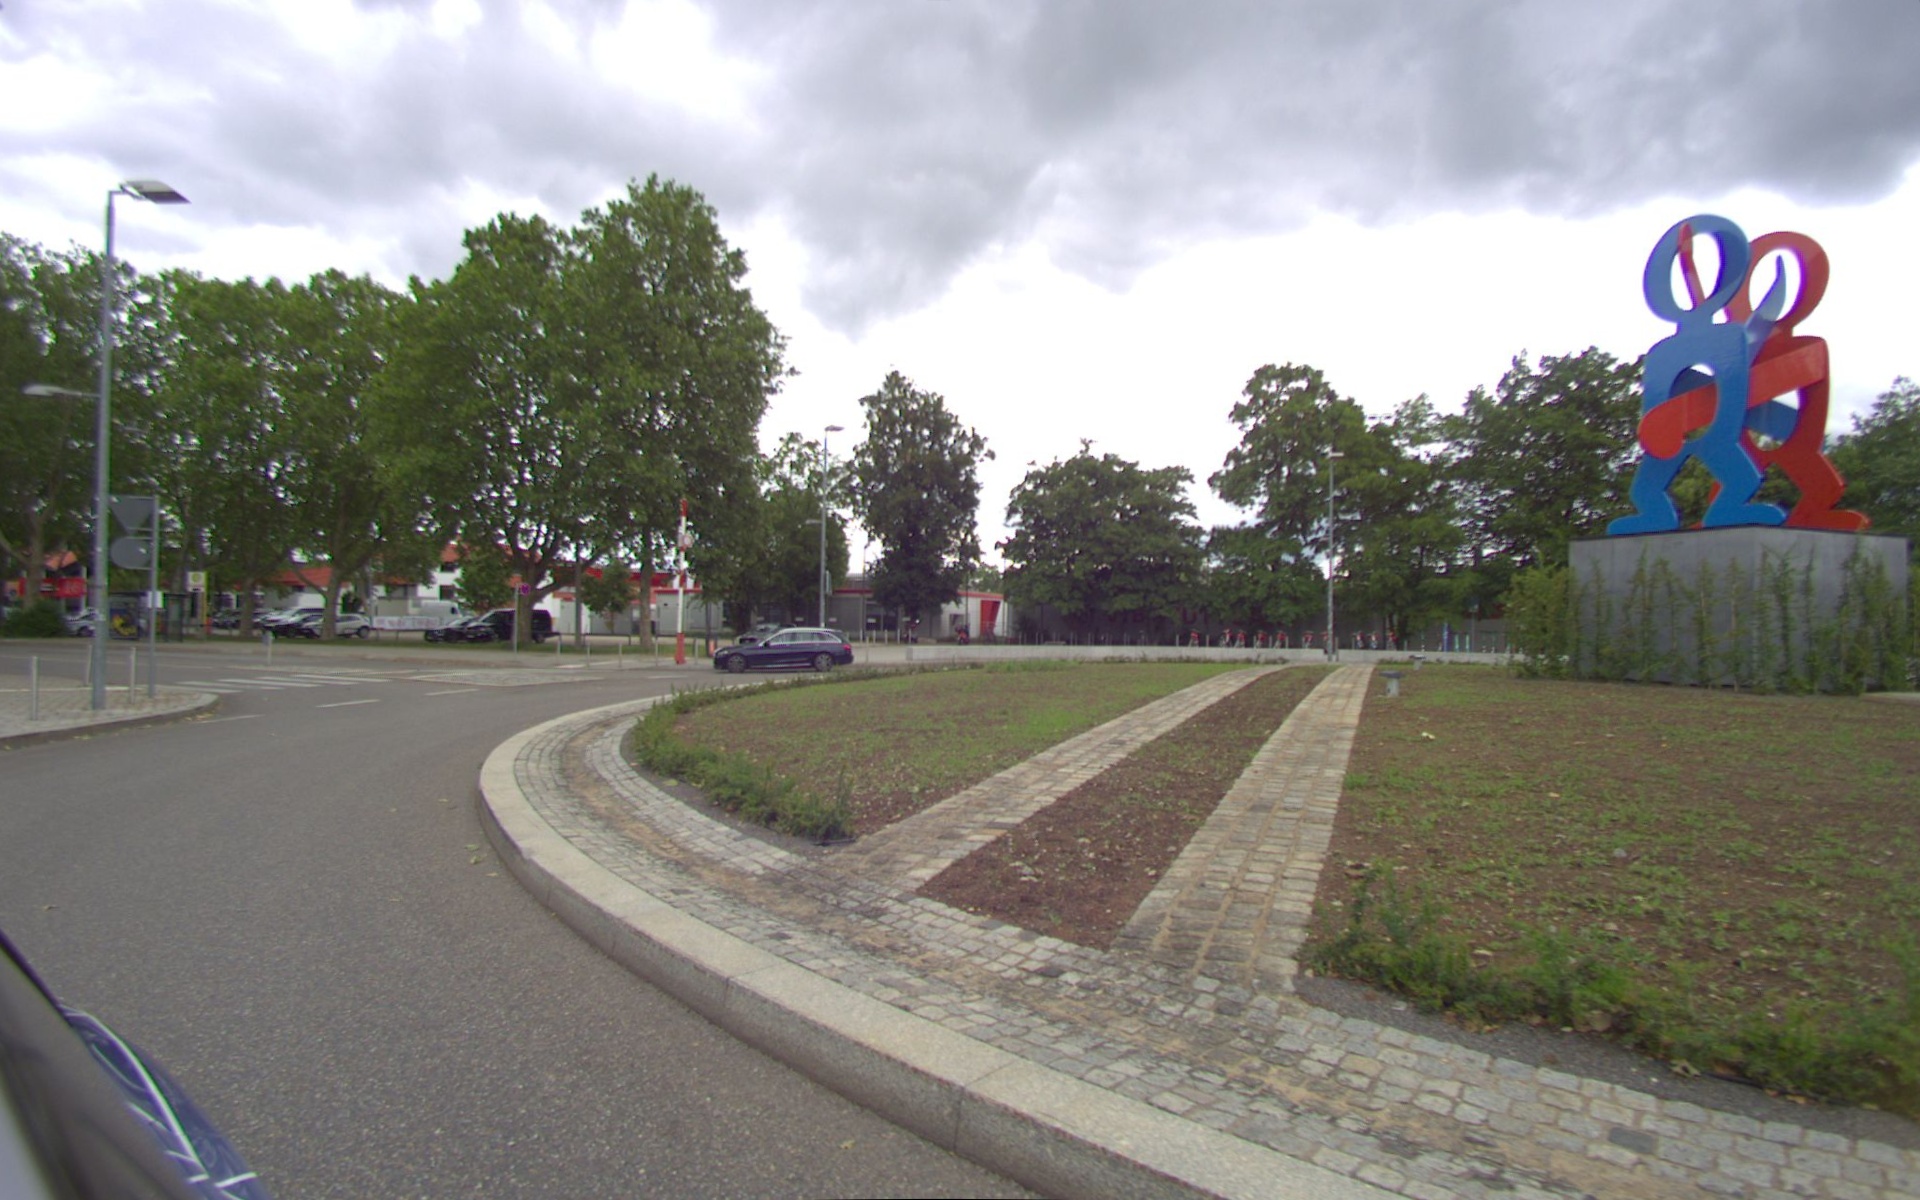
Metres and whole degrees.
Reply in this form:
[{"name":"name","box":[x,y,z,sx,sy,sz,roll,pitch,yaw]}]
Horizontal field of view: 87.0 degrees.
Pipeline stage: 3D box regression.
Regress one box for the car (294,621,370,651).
[{"name":"car","box":[-38.849,2.229,62.694,1.664,1.791,3.674,-1,-1,30]}]

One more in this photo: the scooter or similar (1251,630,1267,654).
[{"name":"scooter or similar","box":[14.855,2.063,50.192,0.635,1.117,1.962,-1,-1,20]}]

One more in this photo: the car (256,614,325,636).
[{"name":"car","box":[-52.963,1.944,80.182,1.783,1.664,4.406,-1,-1,20]}]

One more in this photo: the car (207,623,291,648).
[{"name":"car","box":[-44.876,2.235,63.978,1.864,1.530,3.966,-1,-1,30]}]

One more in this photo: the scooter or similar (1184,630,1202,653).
[{"name":"scooter or similar","box":[11.898,2.127,51.718,0.635,1.117,1.962,-1,-1,20]}]

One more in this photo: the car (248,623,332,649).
[{"name":"car","box":[-41.488,2.221,62.754,1.864,1.530,3.966,-1,-1,30]}]

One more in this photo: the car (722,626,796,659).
[{"name":"car","box":[-9.670,2.027,48.984,1.767,1.536,3.798,-1,-1,21]}]

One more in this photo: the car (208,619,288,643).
[{"name":"car","box":[-47.068,2.053,66.973,1.864,1.530,3.966,-1,-1,30]}]

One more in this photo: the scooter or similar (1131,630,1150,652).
[{"name":"scooter or similar","box":[9.647,2.185,54.050,0.635,1.117,1.962,-1,-1,20]}]

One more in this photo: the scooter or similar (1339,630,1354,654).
[{"name":"scooter or similar","box":[18.587,1.998,48.649,0.635,1.117,1.962,-1,-1,20]}]

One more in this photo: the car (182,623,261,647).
[{"name":"car","box":[-50.011,2.352,68.588,1.864,1.530,3.966,-1,-1,30]}]

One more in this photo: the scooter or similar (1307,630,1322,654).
[{"name":"scooter or similar","box":[17.236,2.020,49.147,0.635,1.117,1.962,-1,-1,20]}]

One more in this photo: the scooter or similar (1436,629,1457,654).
[{"name":"scooter or similar","box":[22.626,1.929,47.079,0.635,1.117,1.962,-1,-1,20]}]

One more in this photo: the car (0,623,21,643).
[{"name":"car","box":[-75.976,2.556,78.699,1.865,1.530,3.964,-1,-1,31]}]

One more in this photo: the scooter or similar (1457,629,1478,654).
[{"name":"scooter or similar","box":[23.435,1.915,46.772,0.635,1.117,1.962,-1,-1,20]}]

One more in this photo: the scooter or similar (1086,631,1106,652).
[{"name":"scooter or similar","box":[7.347,2.224,54.512,0.635,1.117,1.962,-1,-1,20]}]

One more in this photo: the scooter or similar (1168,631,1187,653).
[{"name":"scooter or similar","box":[11.182,2.142,52.003,0.635,1.113,1.962,-1,-1,20]}]

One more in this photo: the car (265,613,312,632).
[{"name":"car","box":[-62.505,2.068,94.201,3.928,1.733,1.784,-1,-1,21]}]

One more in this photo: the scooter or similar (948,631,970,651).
[{"name":"scooter or similar","box":[-0.065,2.365,58.304,0.635,1.117,1.962,-1,-1,20]}]

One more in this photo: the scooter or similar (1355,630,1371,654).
[{"name":"scooter or similar","box":[19.257,1.989,48.376,0.635,1.117,1.962,-1,-1,20]}]

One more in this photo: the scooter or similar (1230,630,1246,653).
[{"name":"scooter or similar","box":[13.921,2.081,50.649,0.635,1.117,1.962,-1,-1,20]}]

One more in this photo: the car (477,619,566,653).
[{"name":"car","box":[-23.544,1.910,54.488,1.998,1.741,4.261,-1,-1,21]}]

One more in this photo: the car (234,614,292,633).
[{"name":"car","box":[-61.553,2.047,89.486,1.783,1.664,3.929,-1,-1,20]}]

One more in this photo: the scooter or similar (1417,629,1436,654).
[{"name":"scooter or similar","box":[21.825,1.942,47.368,0.635,1.117,1.962,-1,-1,20]}]

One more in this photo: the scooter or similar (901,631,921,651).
[{"name":"scooter or similar","box":[-2.910,2.425,60.099,0.541,1.103,1.797,-1,-1,20]}]

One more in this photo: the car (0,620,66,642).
[{"name":"car","box":[-69.966,2.315,75.946,1.865,1.530,3.964,-1,-1,31]}]

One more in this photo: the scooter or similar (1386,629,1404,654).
[{"name":"scooter or similar","box":[20.577,1.967,47.876,0.635,1.117,1.962,-1,-1,20]}]

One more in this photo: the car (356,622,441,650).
[{"name":"car","box":[-32.617,2.077,58.920,1.864,1.530,3.966,-1,-1,30]}]

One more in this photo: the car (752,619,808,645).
[{"name":"car","box":[-12.035,2.117,67.553,1.768,1.664,4.445,0,-2,-38]}]

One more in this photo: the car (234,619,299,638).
[{"name":"car","box":[-55.645,2.265,81.264,1.859,1.530,3.978,-1,-1,22]}]

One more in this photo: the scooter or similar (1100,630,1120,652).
[{"name":"scooter or similar","box":[8.048,2.202,54.241,0.635,1.117,1.962,-1,-1,20]}]

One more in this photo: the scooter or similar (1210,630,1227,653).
[{"name":"scooter or similar","box":[13.018,2.096,50.993,0.635,1.117,1.962,-1,-1,20]}]

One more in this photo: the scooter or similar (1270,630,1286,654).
[{"name":"scooter or similar","box":[15.671,2.049,49.852,0.635,1.117,1.962,-1,-1,20]}]

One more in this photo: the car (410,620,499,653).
[{"name":"car","box":[-28.370,2.029,56.913,1.998,1.741,4.261,-1,-1,21]}]

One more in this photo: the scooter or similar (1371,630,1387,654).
[{"name":"scooter or similar","box":[19.918,1.978,48.128,0.635,1.117,1.962,-1,-1,20]}]

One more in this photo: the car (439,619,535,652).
[{"name":"car","box":[-26.000,1.932,55.850,1.998,1.741,4.778,-1,-1,21]}]

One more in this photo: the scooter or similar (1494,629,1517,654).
[{"name":"scooter or similar","box":[24.883,1.889,46.169,0.635,1.117,1.962,-1,-1,20]}]

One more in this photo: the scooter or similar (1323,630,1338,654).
[{"name":"scooter or similar","box":[17.910,2.009,48.908,0.635,1.117,1.962,-1,-1,20]}]

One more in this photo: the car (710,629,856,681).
[{"name":"car","box":[-5.888,1.787,33.556,4.650,1.576,1.801,0,-1,-12]}]

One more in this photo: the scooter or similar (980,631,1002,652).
[{"name":"scooter or similar","box":[1.757,2.334,57.296,0.635,1.117,1.962,-1,-1,20]}]

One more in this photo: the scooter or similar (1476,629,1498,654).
[{"name":"scooter or similar","box":[24.181,1.902,46.473,0.635,1.117,1.962,-1,-1,20]}]

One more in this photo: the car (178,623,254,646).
[{"name":"car","box":[-52.335,2.395,71.250,1.864,1.530,3.966,-1,-1,30]}]
